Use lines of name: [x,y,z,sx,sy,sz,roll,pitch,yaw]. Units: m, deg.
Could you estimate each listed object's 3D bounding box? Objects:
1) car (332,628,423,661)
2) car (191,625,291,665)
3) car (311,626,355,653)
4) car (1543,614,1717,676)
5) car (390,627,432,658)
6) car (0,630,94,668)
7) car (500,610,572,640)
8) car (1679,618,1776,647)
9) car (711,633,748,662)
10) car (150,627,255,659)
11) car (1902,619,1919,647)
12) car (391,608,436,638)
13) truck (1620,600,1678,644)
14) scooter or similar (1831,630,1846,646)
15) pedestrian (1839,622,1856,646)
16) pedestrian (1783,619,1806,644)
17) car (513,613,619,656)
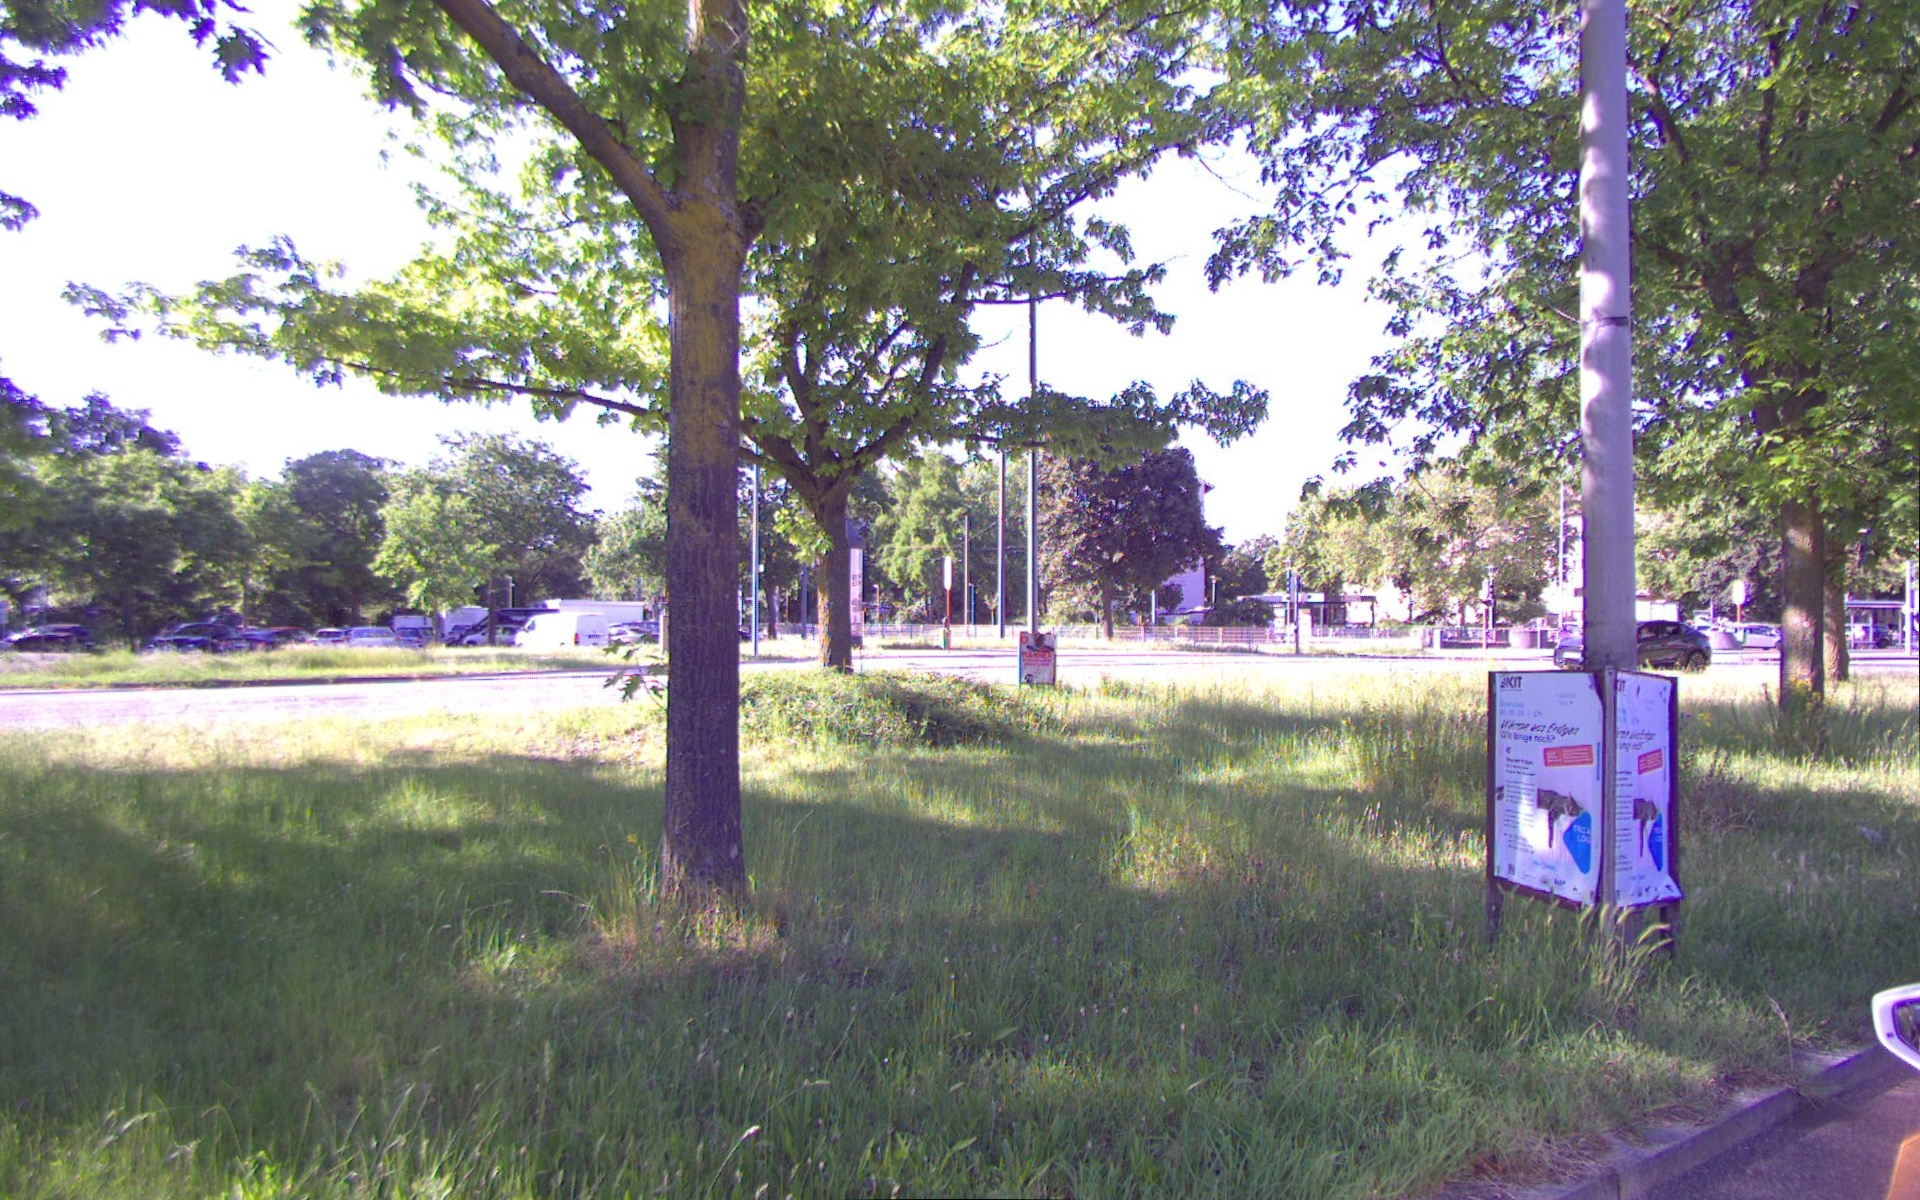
car: [-21.822,1.634,37.643,2.769,1.171,1.326,1,-1,-40]
car: [-25.229,1.563,35.253,2.769,1.323,1.326,1,-1,-40]
car: [-29.290,1.825,46.874,1.603,1.194,3.047,1,-1,-35]
car: [19.127,1.254,28.692,4.389,1.669,1.825,1,-1,-18]
car: [-26.697,2.029,48.788,1.602,1.438,3.050,1,-1,-33]
car: [-47.654,2.496,51.914,1.966,1.817,3.990,0,-1,32]
car: [-24.125,1.413,57.298,3.698,1.691,1.883,1,-1,-23]
car: [46.912,1.964,61.470,4.233,1.706,2.001,0,-1,9]
car: [-12.026,2.454,52.495,1.589,1.438,3.073,0,-1,-8]
car: [-26.839,1.504,35.638,1.315,1.078,2.777,-1,-1,42]
car: [71.868,2.395,73.359,1.910,2.040,4.155,1,-1,-31]
car: [-32.483,1.365,59.795,1.865,1.691,3.733,1,-1,-22]
truck: [46.646,1.478,68.095,1.960,2.842,4.002,0,-1,15]
scooter or similar: [51.790,2.221,59.224,0.524,0.939,0.421,0,-1,-4]
pedestrian: [52.361,2.001,59.263,0.614,1.409,0.416,0,-1,-3]
pedestrian: [53.603,2.028,64.554,0.781,1.629,0.923,0,-1,9]
car: [-17.214,1.475,43.809,4.670,1.762,2.024,0,-1,34]
